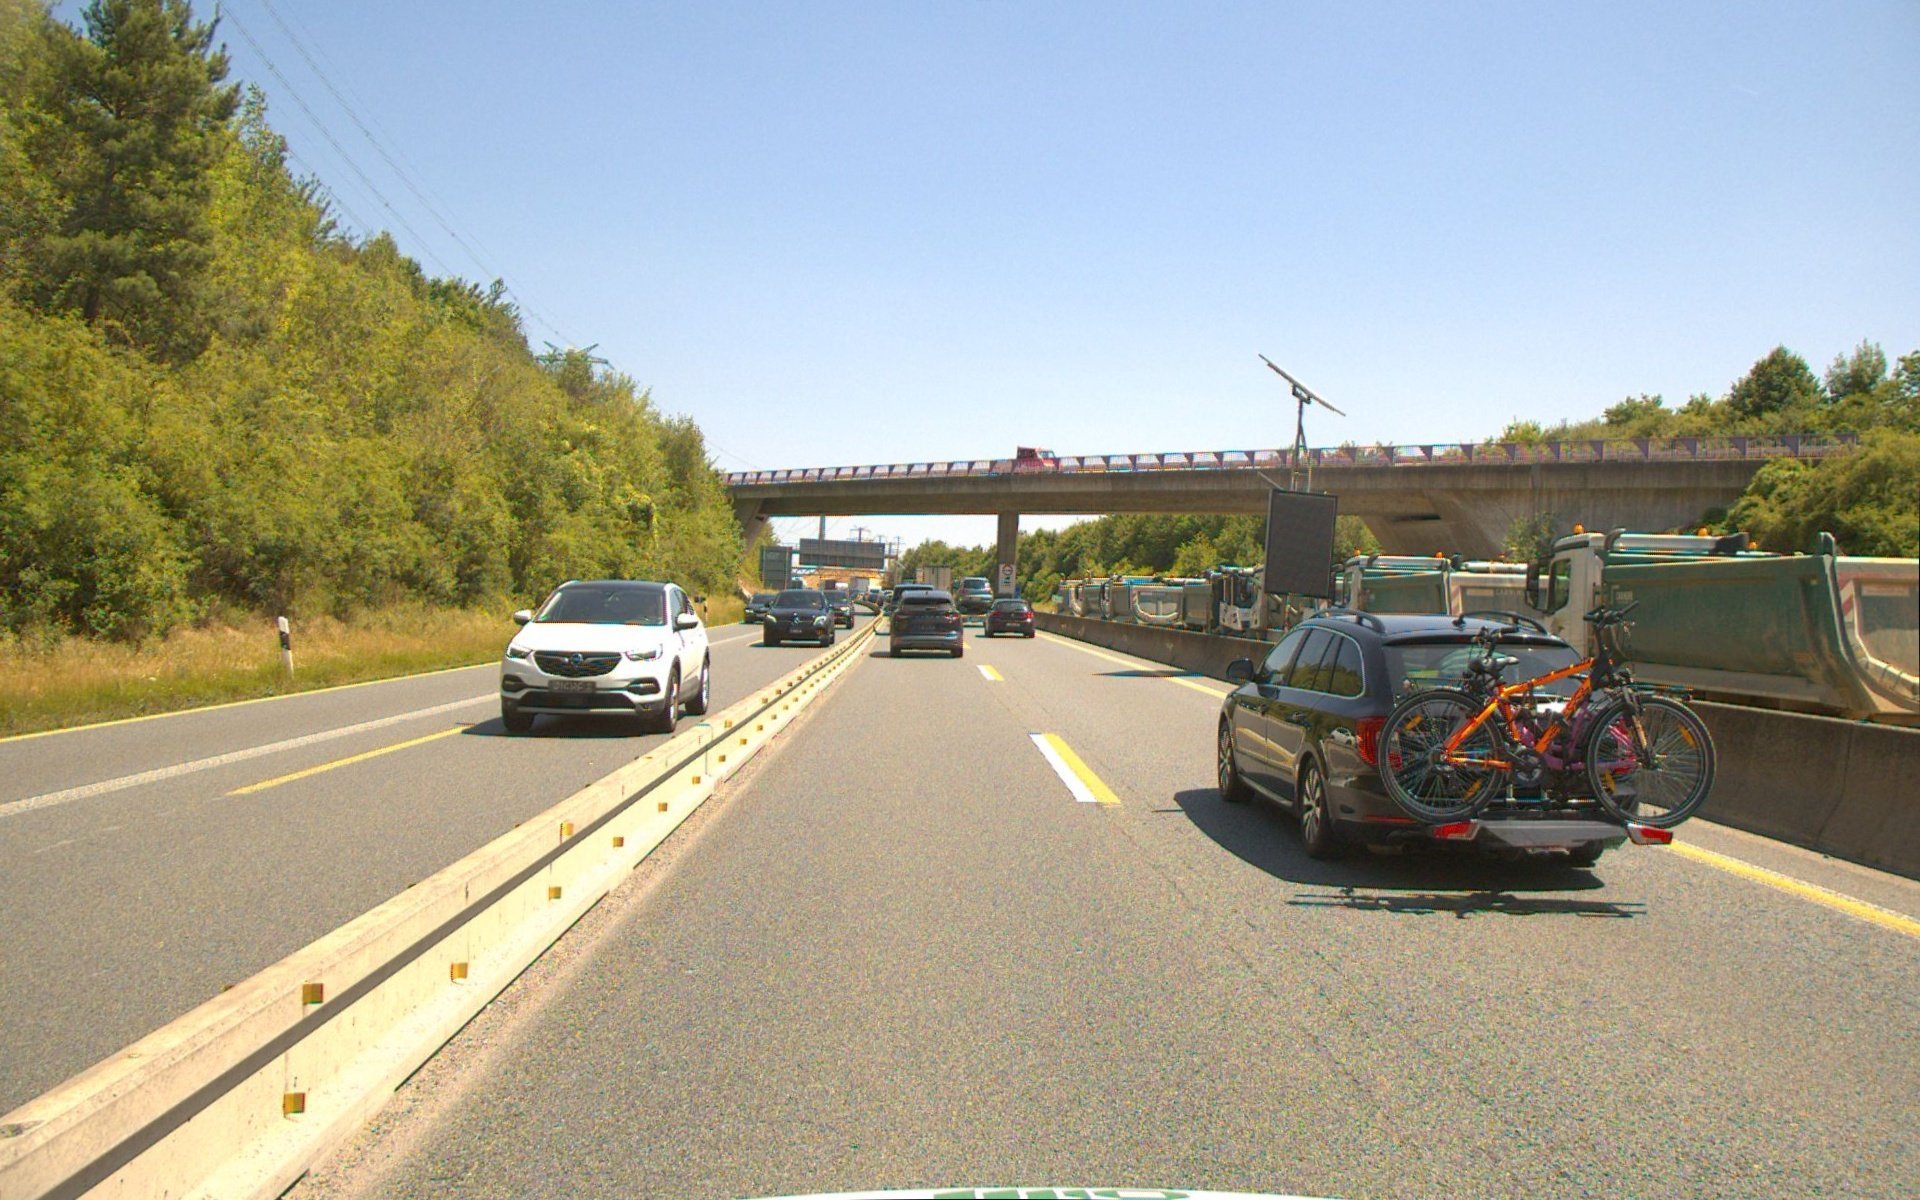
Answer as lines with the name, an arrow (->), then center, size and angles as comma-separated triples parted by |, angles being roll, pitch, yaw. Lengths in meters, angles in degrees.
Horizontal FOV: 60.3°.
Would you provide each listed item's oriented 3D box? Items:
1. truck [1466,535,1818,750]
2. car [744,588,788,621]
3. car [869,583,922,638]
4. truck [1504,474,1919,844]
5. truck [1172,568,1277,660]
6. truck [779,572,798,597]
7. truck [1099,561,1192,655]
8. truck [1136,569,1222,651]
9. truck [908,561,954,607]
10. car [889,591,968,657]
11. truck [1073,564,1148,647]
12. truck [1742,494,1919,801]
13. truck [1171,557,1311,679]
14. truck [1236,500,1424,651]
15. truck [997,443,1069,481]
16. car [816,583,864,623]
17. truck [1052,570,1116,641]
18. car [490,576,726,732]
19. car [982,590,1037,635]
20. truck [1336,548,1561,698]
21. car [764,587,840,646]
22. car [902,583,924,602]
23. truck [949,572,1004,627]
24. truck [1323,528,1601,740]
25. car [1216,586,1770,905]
truck -> 12.476, 0.668, 31.492 | 2.632, 3.437, 9.601 | 1, 0, -1
car -> -9.392, 0.187, 80.260 | 1.688, 1.548, 4.184 | 1, 0, -1
car -> -2.432, 0.392, 63.124 | 1.860, 2.003, 4.275 | 1, 0, -1
truck -> 9.941, 0.578, 21.077 | 2.633, 3.619, 9.600 | 1, 0, -1
truck -> 11.166, 0.550, 70.785 | 2.633, 3.619, 9.321 | 1, 0, -2
truck -> -22.920, -2.002, 220.962 | 2.460, 3.242, 10.096 | 1, 0, -6
truck -> 7.988, 0.309, 72.386 | 2.633, 3.826, 9.321 | 1, 0, -2
truck -> 10.742, 0.449, 81.955 | 2.633, 3.792, 9.321 | 1, 0, -2
truck -> -2.681, -1.398, 148.497 | 3.229, 3.912, 10.096 | 1, 0, -6
car -> -0.769, 0.567, 41.631 | 1.860, 1.531, 4.275 | 1, 0, -1
truck -> 7.533, 0.240, 83.967 | 2.633, 3.923, 9.321 | 1, 0, -2
truck -> 12.654, 0.587, 18.903 | 2.633, 3.619, 9.600 | 1, 0, -2
truck -> 9.058, 0.513, 54.410 | 2.633, 3.619, 9.321 | 1, 0, -2
truck -> 9.778, -0.609, 44.890 | 2.633, 3.619, 9.321 | 1, 0, -2
truck -> 4.994, -9.428, 113.418 | 1.916, 2.102, 5.442 | 1, 0, -37
car -> -5.230, 0.101, 72.342 | 1.806, 1.638, 4.698 | 2, 0, -1
truck -> 7.113, 0.287, 96.262 | 2.633, 3.910, 9.321 | 1, 0, -2
car -> -3.923, 0.538, 19.219 | 1.806, 1.560, 4.670 | 1, 0, -1
car -> 1.840, 0.452, 62.225 | 1.860, 1.613, 4.275 | 1, 0, -1
truck -> 12.463, 0.514, 43.256 | 2.633, 3.437, 9.598 | 1, 0, -2
car -> -4.524, 0.441, 48.001 | 1.806, 1.560, 4.670 | 2, 0, -1
car -> -5.238, -0.808, 183.399 | 1.864, 2.003, 4.268 | 1, 0, -9
truck -> 0.772, -0.054, 83.233 | 2.357, 2.603, 7.496 | 1, 1, -2
truck -> 9.754, 0.573, 33.445 | 2.632, 3.619, 9.405 | 1, 0, -1
car -> 2.976, 0.718, 10.509 | 1.860, 1.516, 4.946 | 1, 0, -1
